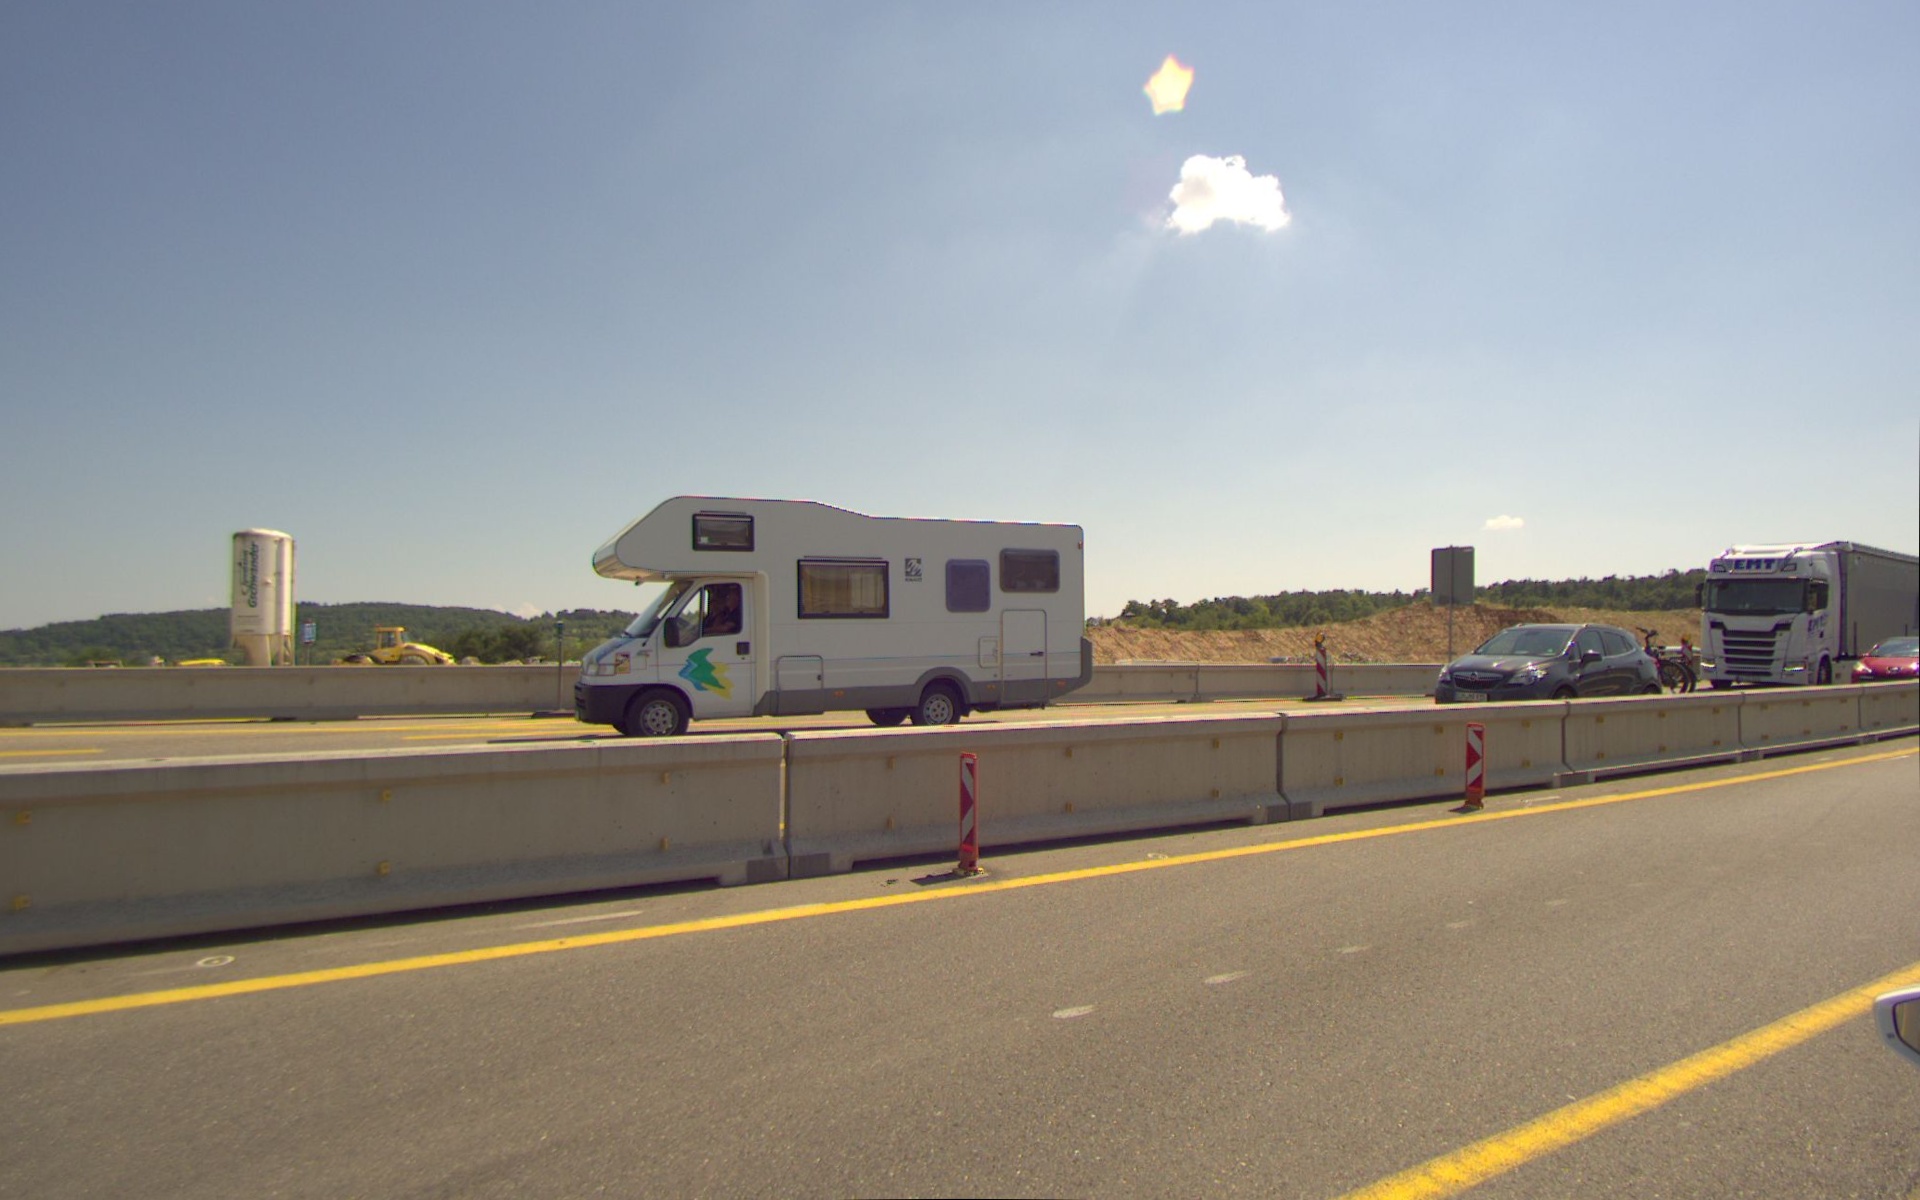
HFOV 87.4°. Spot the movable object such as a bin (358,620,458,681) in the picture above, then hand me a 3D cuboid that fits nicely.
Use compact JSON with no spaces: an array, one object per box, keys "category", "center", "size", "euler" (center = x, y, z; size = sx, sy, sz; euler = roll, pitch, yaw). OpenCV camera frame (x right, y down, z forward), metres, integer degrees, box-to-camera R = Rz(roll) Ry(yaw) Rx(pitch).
[{"category":"movable object such as a bin","center":[-29.868,2.717,54.523],"size":[4.414,3.182,1.993],"euler":[0,-2,-18]}]

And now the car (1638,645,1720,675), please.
[{"category":"car","center":[37.146,3.079,51.975],"size":[3.140,1.474,1.547],"euler":[-1,-2,24]}]

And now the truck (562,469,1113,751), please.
[{"category":"truck","center":[-1.540,0.197,13.825],"size":[7.154,3.112,2.433],"euler":[1,-2,-27]}]

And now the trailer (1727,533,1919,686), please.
[{"category":"trailer","center":[29.054,0.446,32.617],"size":[13.843,4.168,2.741],"euler":[1,-3,-36]}]

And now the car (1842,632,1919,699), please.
[{"category":"car","center":[22.770,1.517,23.965],"size":[3.929,1.495,1.658],"euler":[1,-3,-34]}]

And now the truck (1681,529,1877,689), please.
[{"category":"truck","center":[23.237,0.329,28.474],"size":[5.440,4.115,2.687],"euler":[1,-2,-32]}]

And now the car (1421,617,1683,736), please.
[{"category":"car","center":[9.260,1.117,15.626],"size":[4.346,1.626,1.652],"euler":[1,-2,-31]}]
